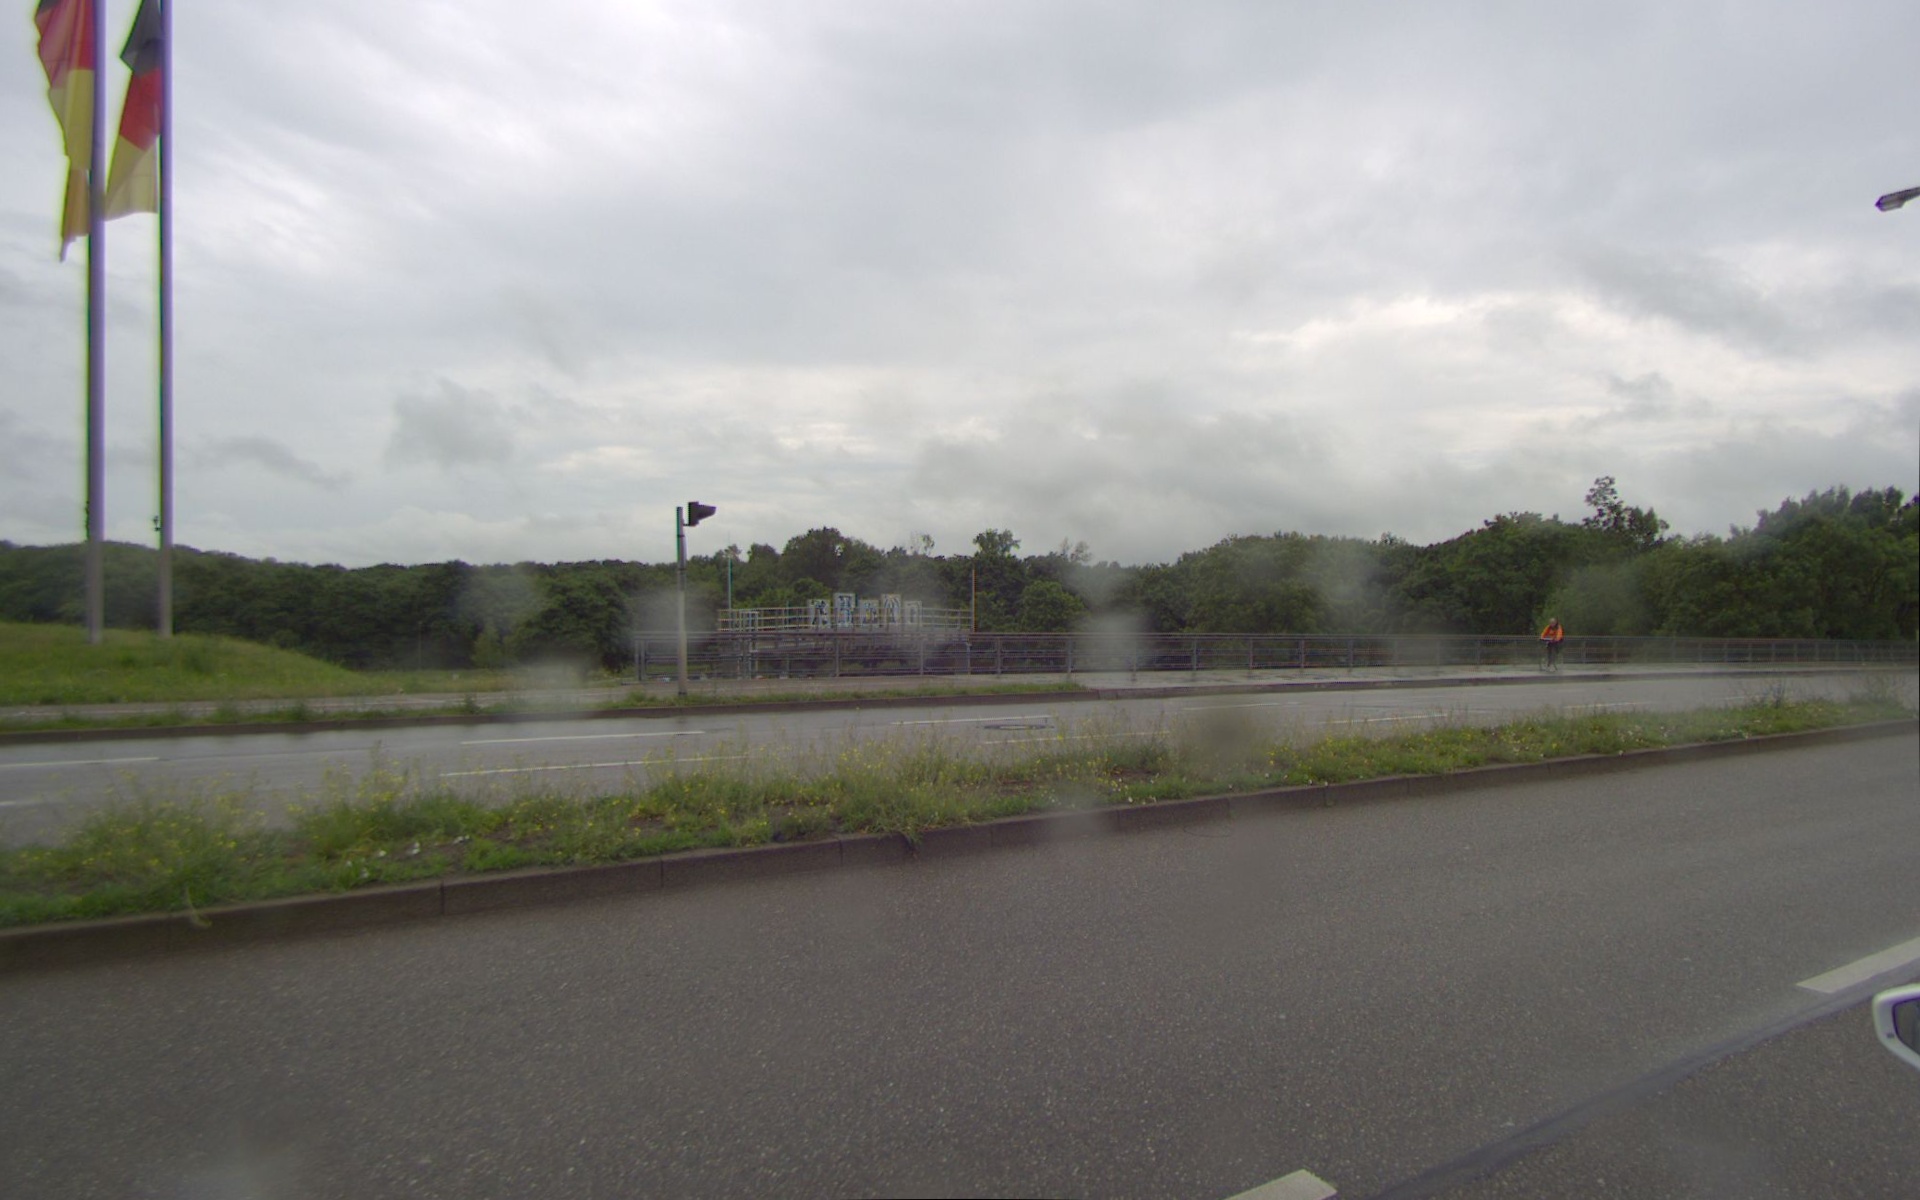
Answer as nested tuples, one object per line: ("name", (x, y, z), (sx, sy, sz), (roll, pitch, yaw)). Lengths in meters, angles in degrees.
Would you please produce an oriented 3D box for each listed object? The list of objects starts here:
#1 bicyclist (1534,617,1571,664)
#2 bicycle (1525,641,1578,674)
("bicyclist", (19.737, 1.353, 33.469), (0.991, 1.520, 0.616), (2, 0, -30))
("bicycle", (19.719, 1.923, 33.475), (1.977, 1.047, 0.606), (2, 0, -30))
